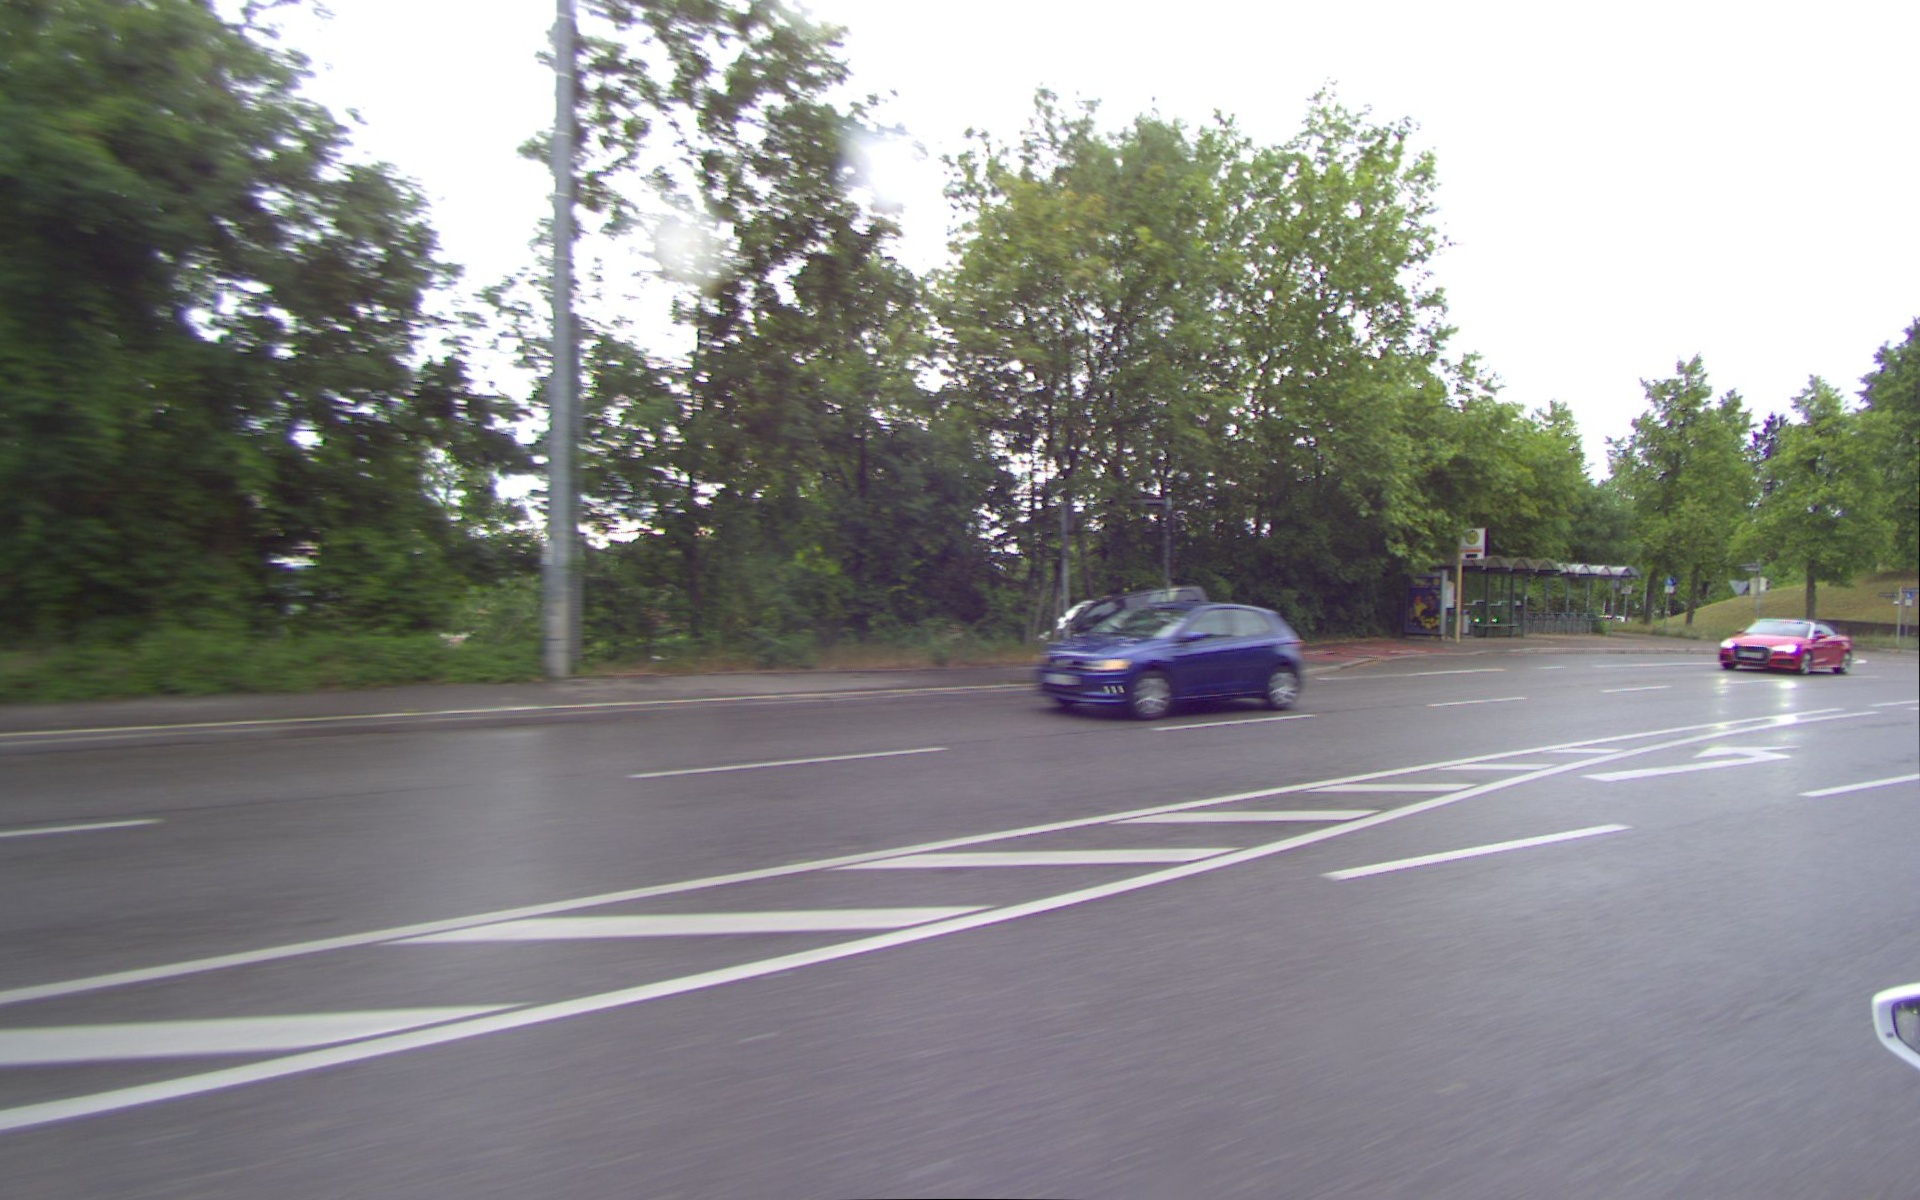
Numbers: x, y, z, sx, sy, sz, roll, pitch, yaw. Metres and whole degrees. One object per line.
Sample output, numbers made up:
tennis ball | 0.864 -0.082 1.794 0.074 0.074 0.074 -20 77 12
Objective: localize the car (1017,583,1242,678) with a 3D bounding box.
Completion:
car | 4.179 0.722 25.165 5.067 1.972 2.106 -3 0 -10

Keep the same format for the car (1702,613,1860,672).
car | 21.861 1.099 26.708 4.333 1.392 1.866 1 1 -31

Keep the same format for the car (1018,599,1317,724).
car | 2.827 0.743 13.373 3.960 1.413 1.620 1 0 -35
